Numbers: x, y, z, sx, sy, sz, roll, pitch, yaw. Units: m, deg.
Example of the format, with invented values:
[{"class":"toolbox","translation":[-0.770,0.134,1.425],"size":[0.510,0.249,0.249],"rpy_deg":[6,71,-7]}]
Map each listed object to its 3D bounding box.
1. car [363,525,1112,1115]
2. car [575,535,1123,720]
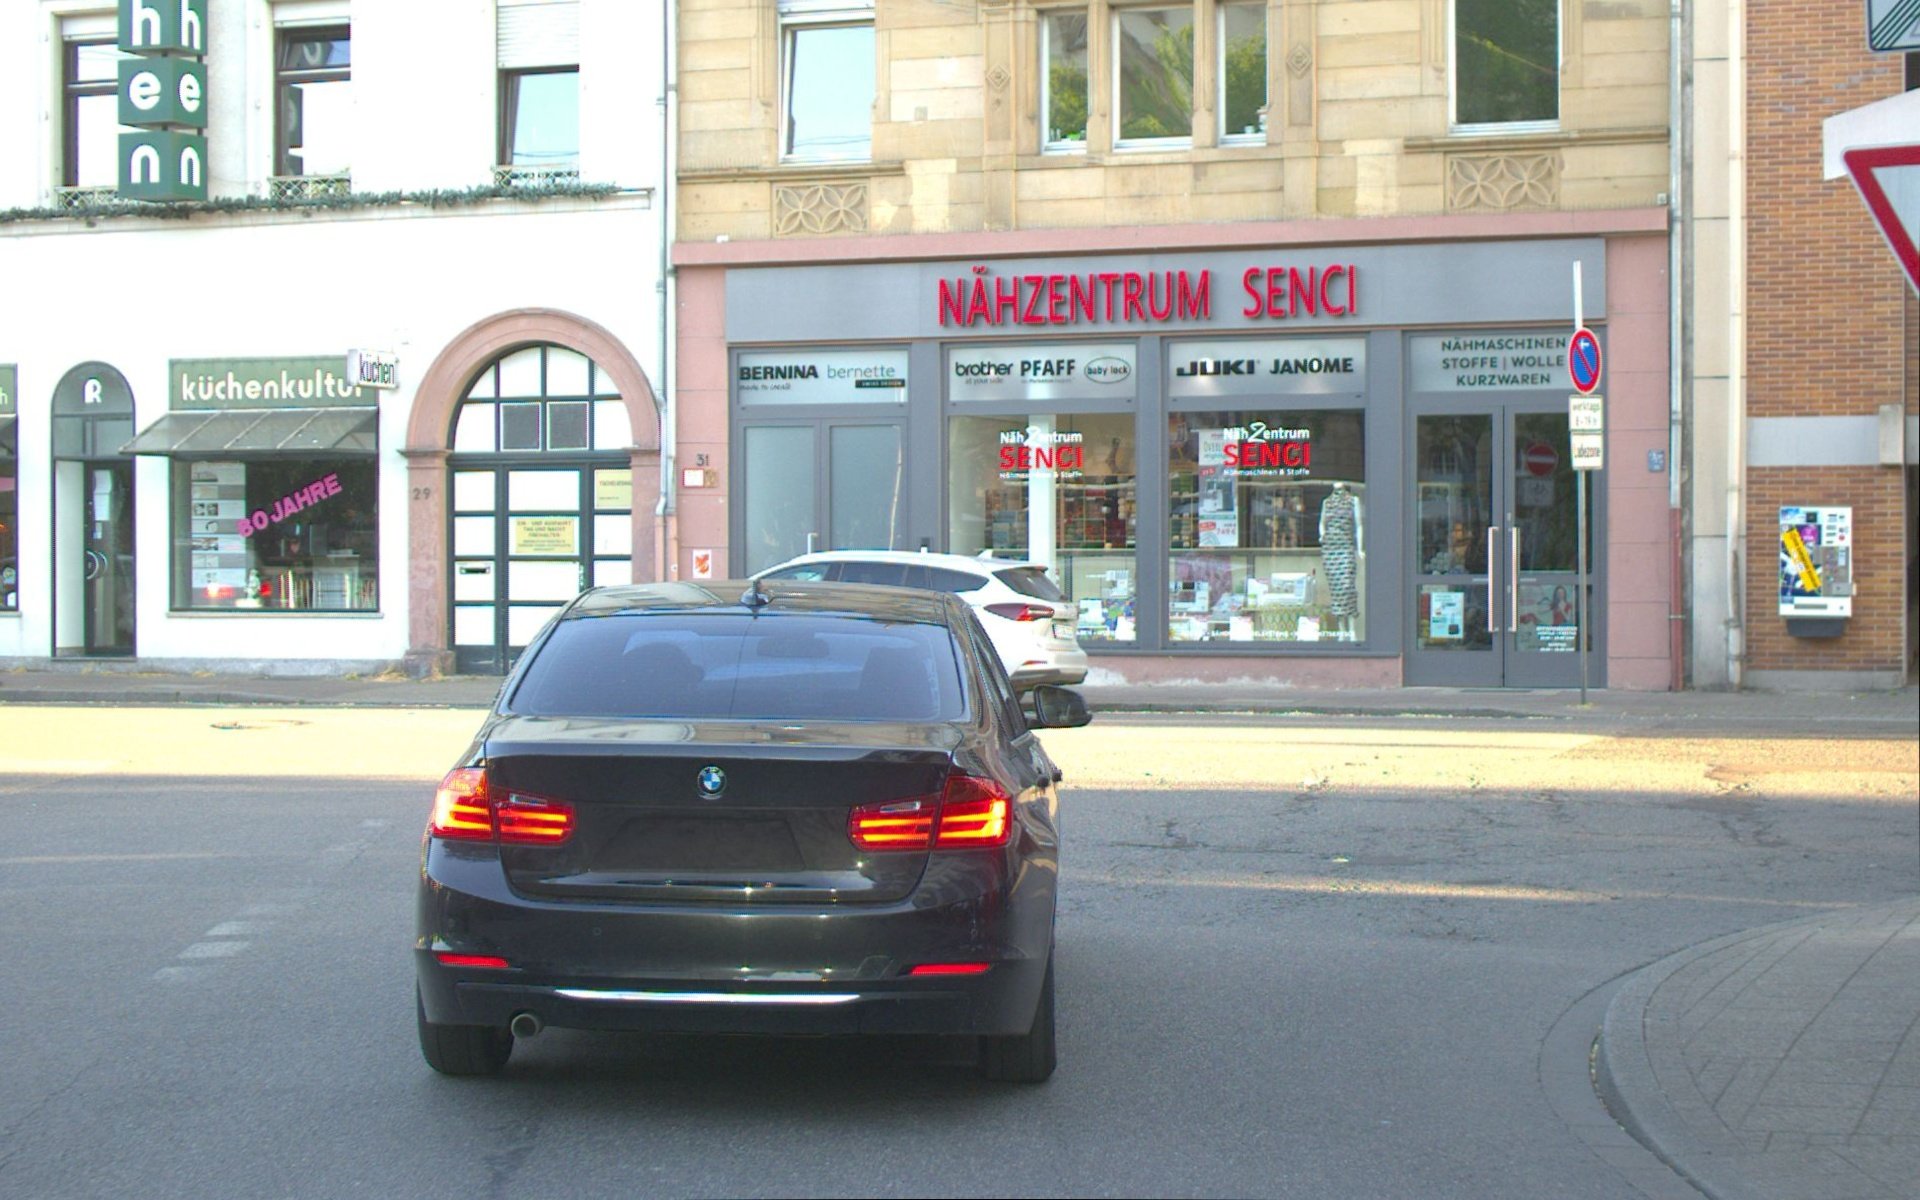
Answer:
[{"class":"car","translation":[-0.606,0.560,10.808],"size":[1.888,1.487,4.205],"rpy_deg":[0,0,-1]},{"class":"car","translation":[-1.025,0.224,32.072],"size":[4.671,1.530,1.998],"rpy_deg":[2,1,20]}]
